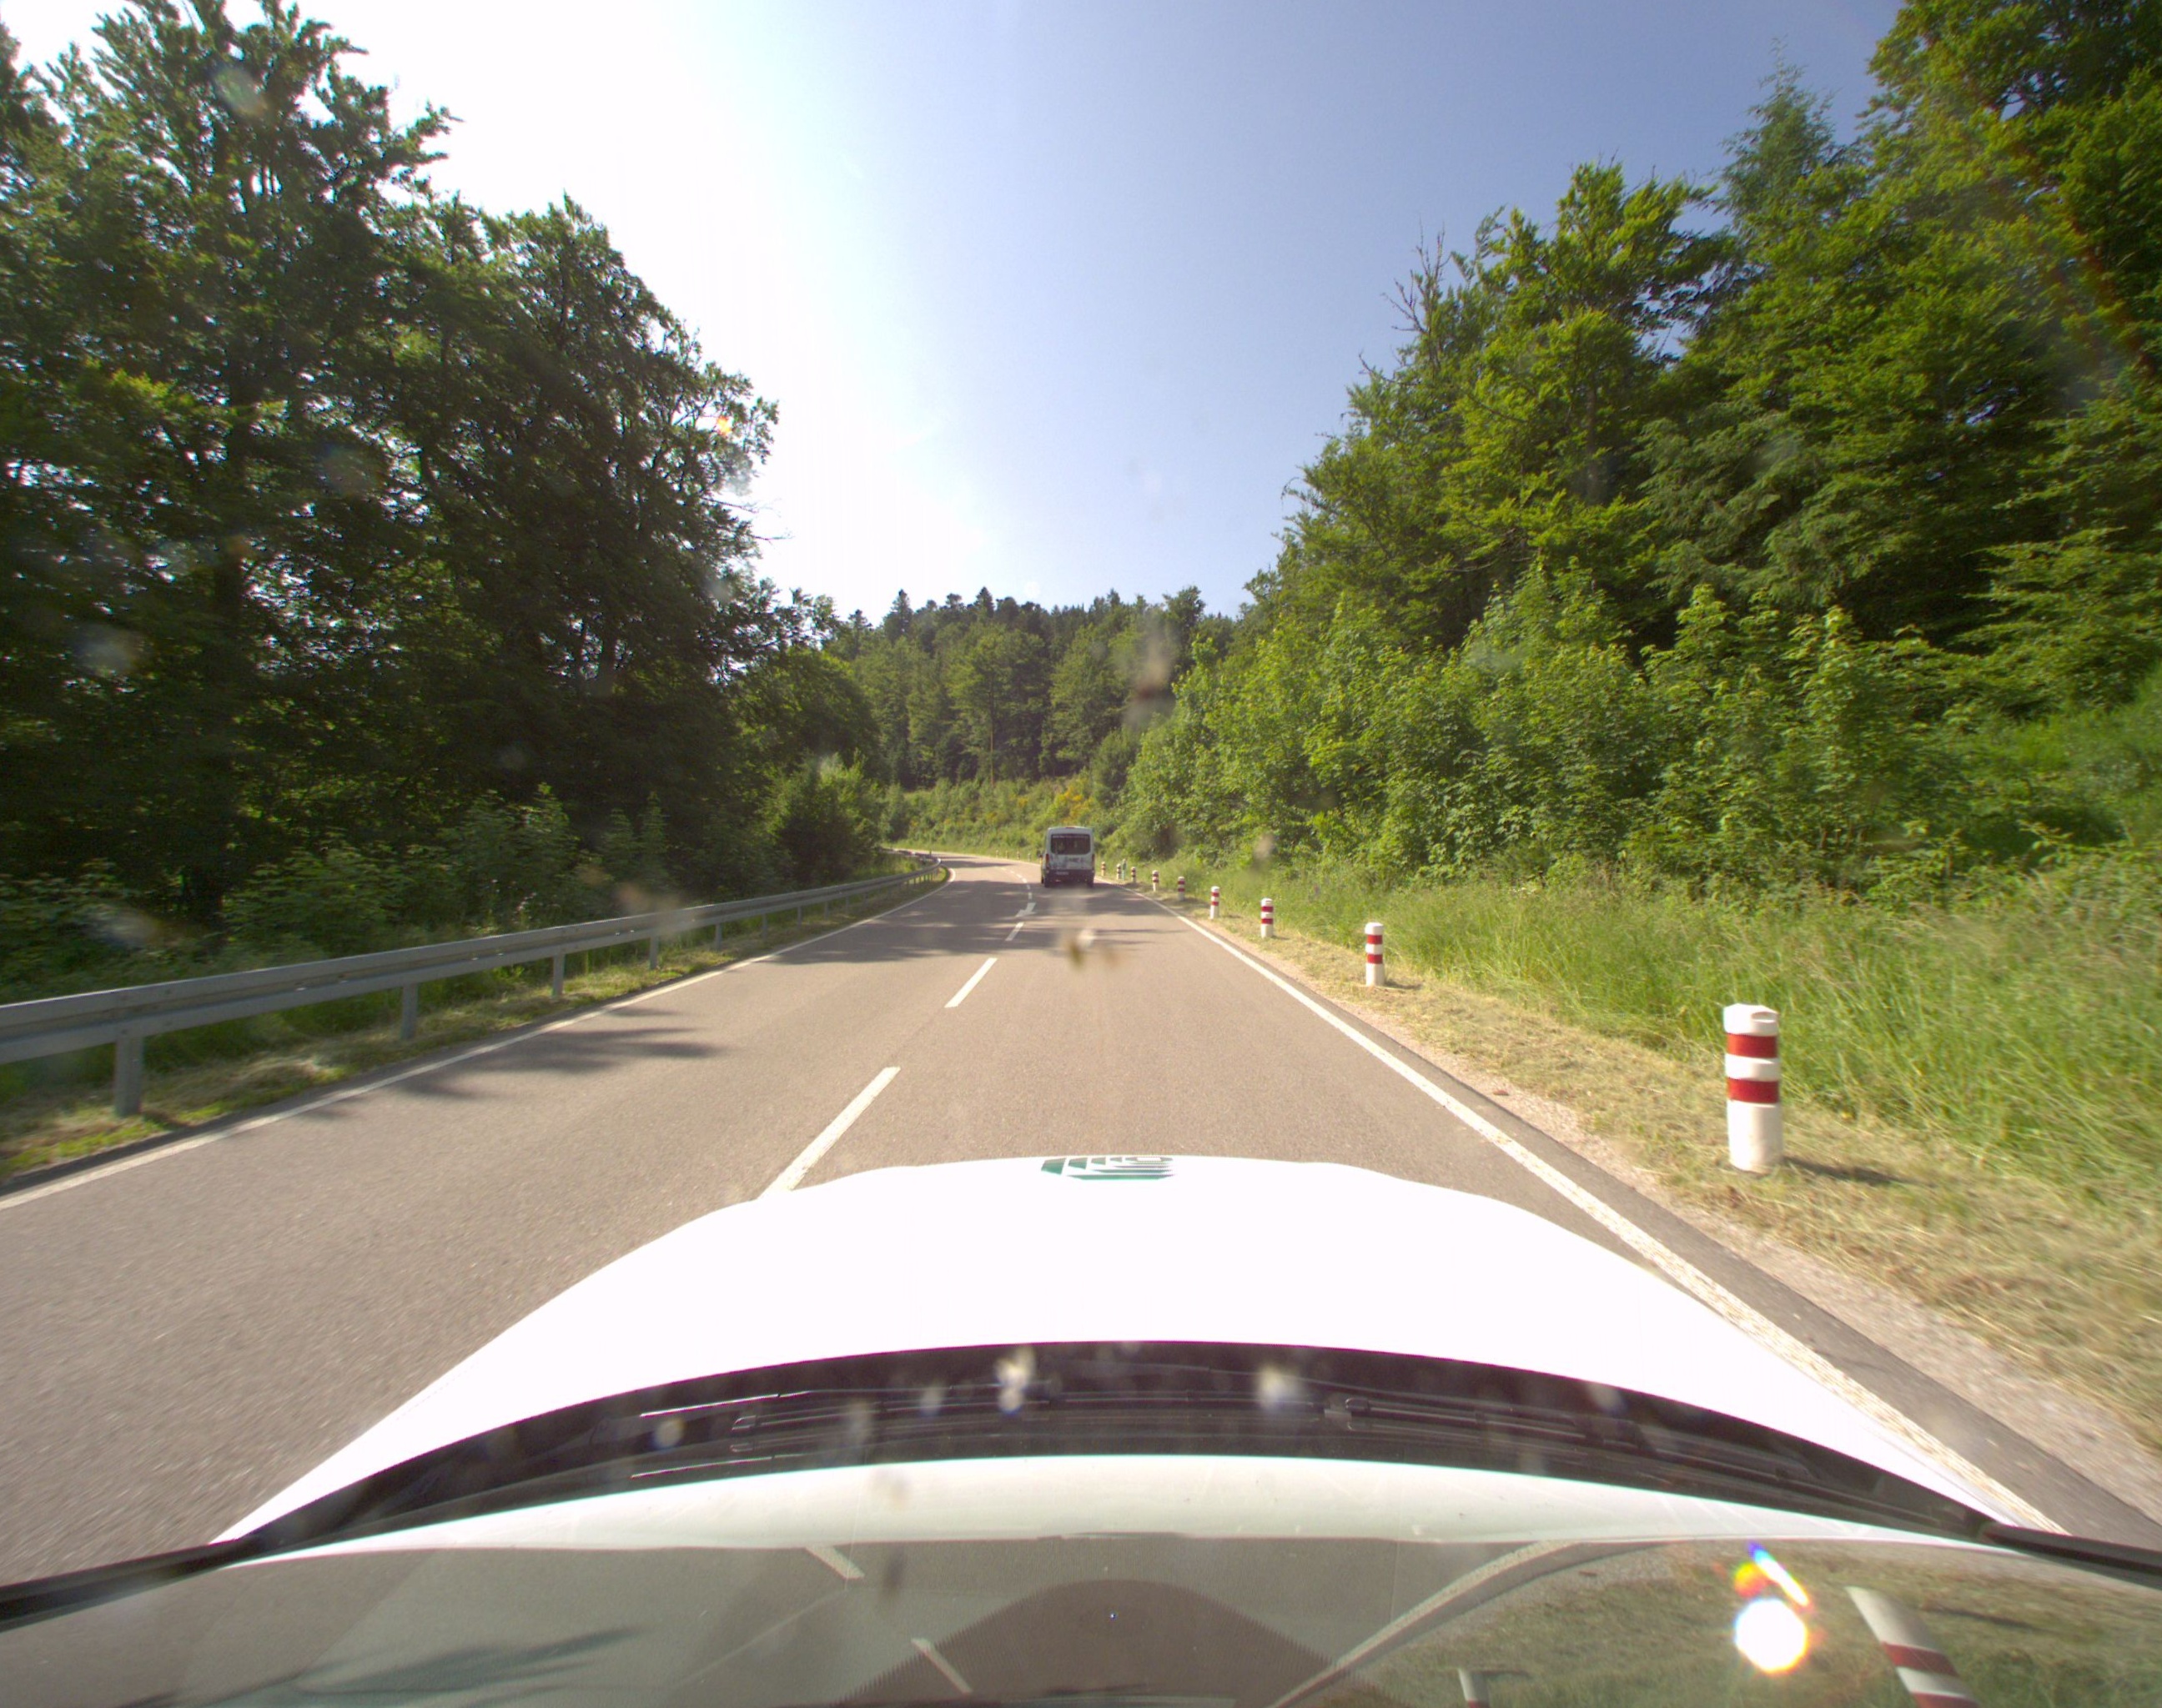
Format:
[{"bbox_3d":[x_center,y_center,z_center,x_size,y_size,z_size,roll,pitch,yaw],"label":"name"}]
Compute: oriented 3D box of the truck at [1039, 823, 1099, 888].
[{"bbox_3d":[-0.619,0.036,34.621,2.113,2.498,5.349,-1,0,-6],"label":"truck"}]
